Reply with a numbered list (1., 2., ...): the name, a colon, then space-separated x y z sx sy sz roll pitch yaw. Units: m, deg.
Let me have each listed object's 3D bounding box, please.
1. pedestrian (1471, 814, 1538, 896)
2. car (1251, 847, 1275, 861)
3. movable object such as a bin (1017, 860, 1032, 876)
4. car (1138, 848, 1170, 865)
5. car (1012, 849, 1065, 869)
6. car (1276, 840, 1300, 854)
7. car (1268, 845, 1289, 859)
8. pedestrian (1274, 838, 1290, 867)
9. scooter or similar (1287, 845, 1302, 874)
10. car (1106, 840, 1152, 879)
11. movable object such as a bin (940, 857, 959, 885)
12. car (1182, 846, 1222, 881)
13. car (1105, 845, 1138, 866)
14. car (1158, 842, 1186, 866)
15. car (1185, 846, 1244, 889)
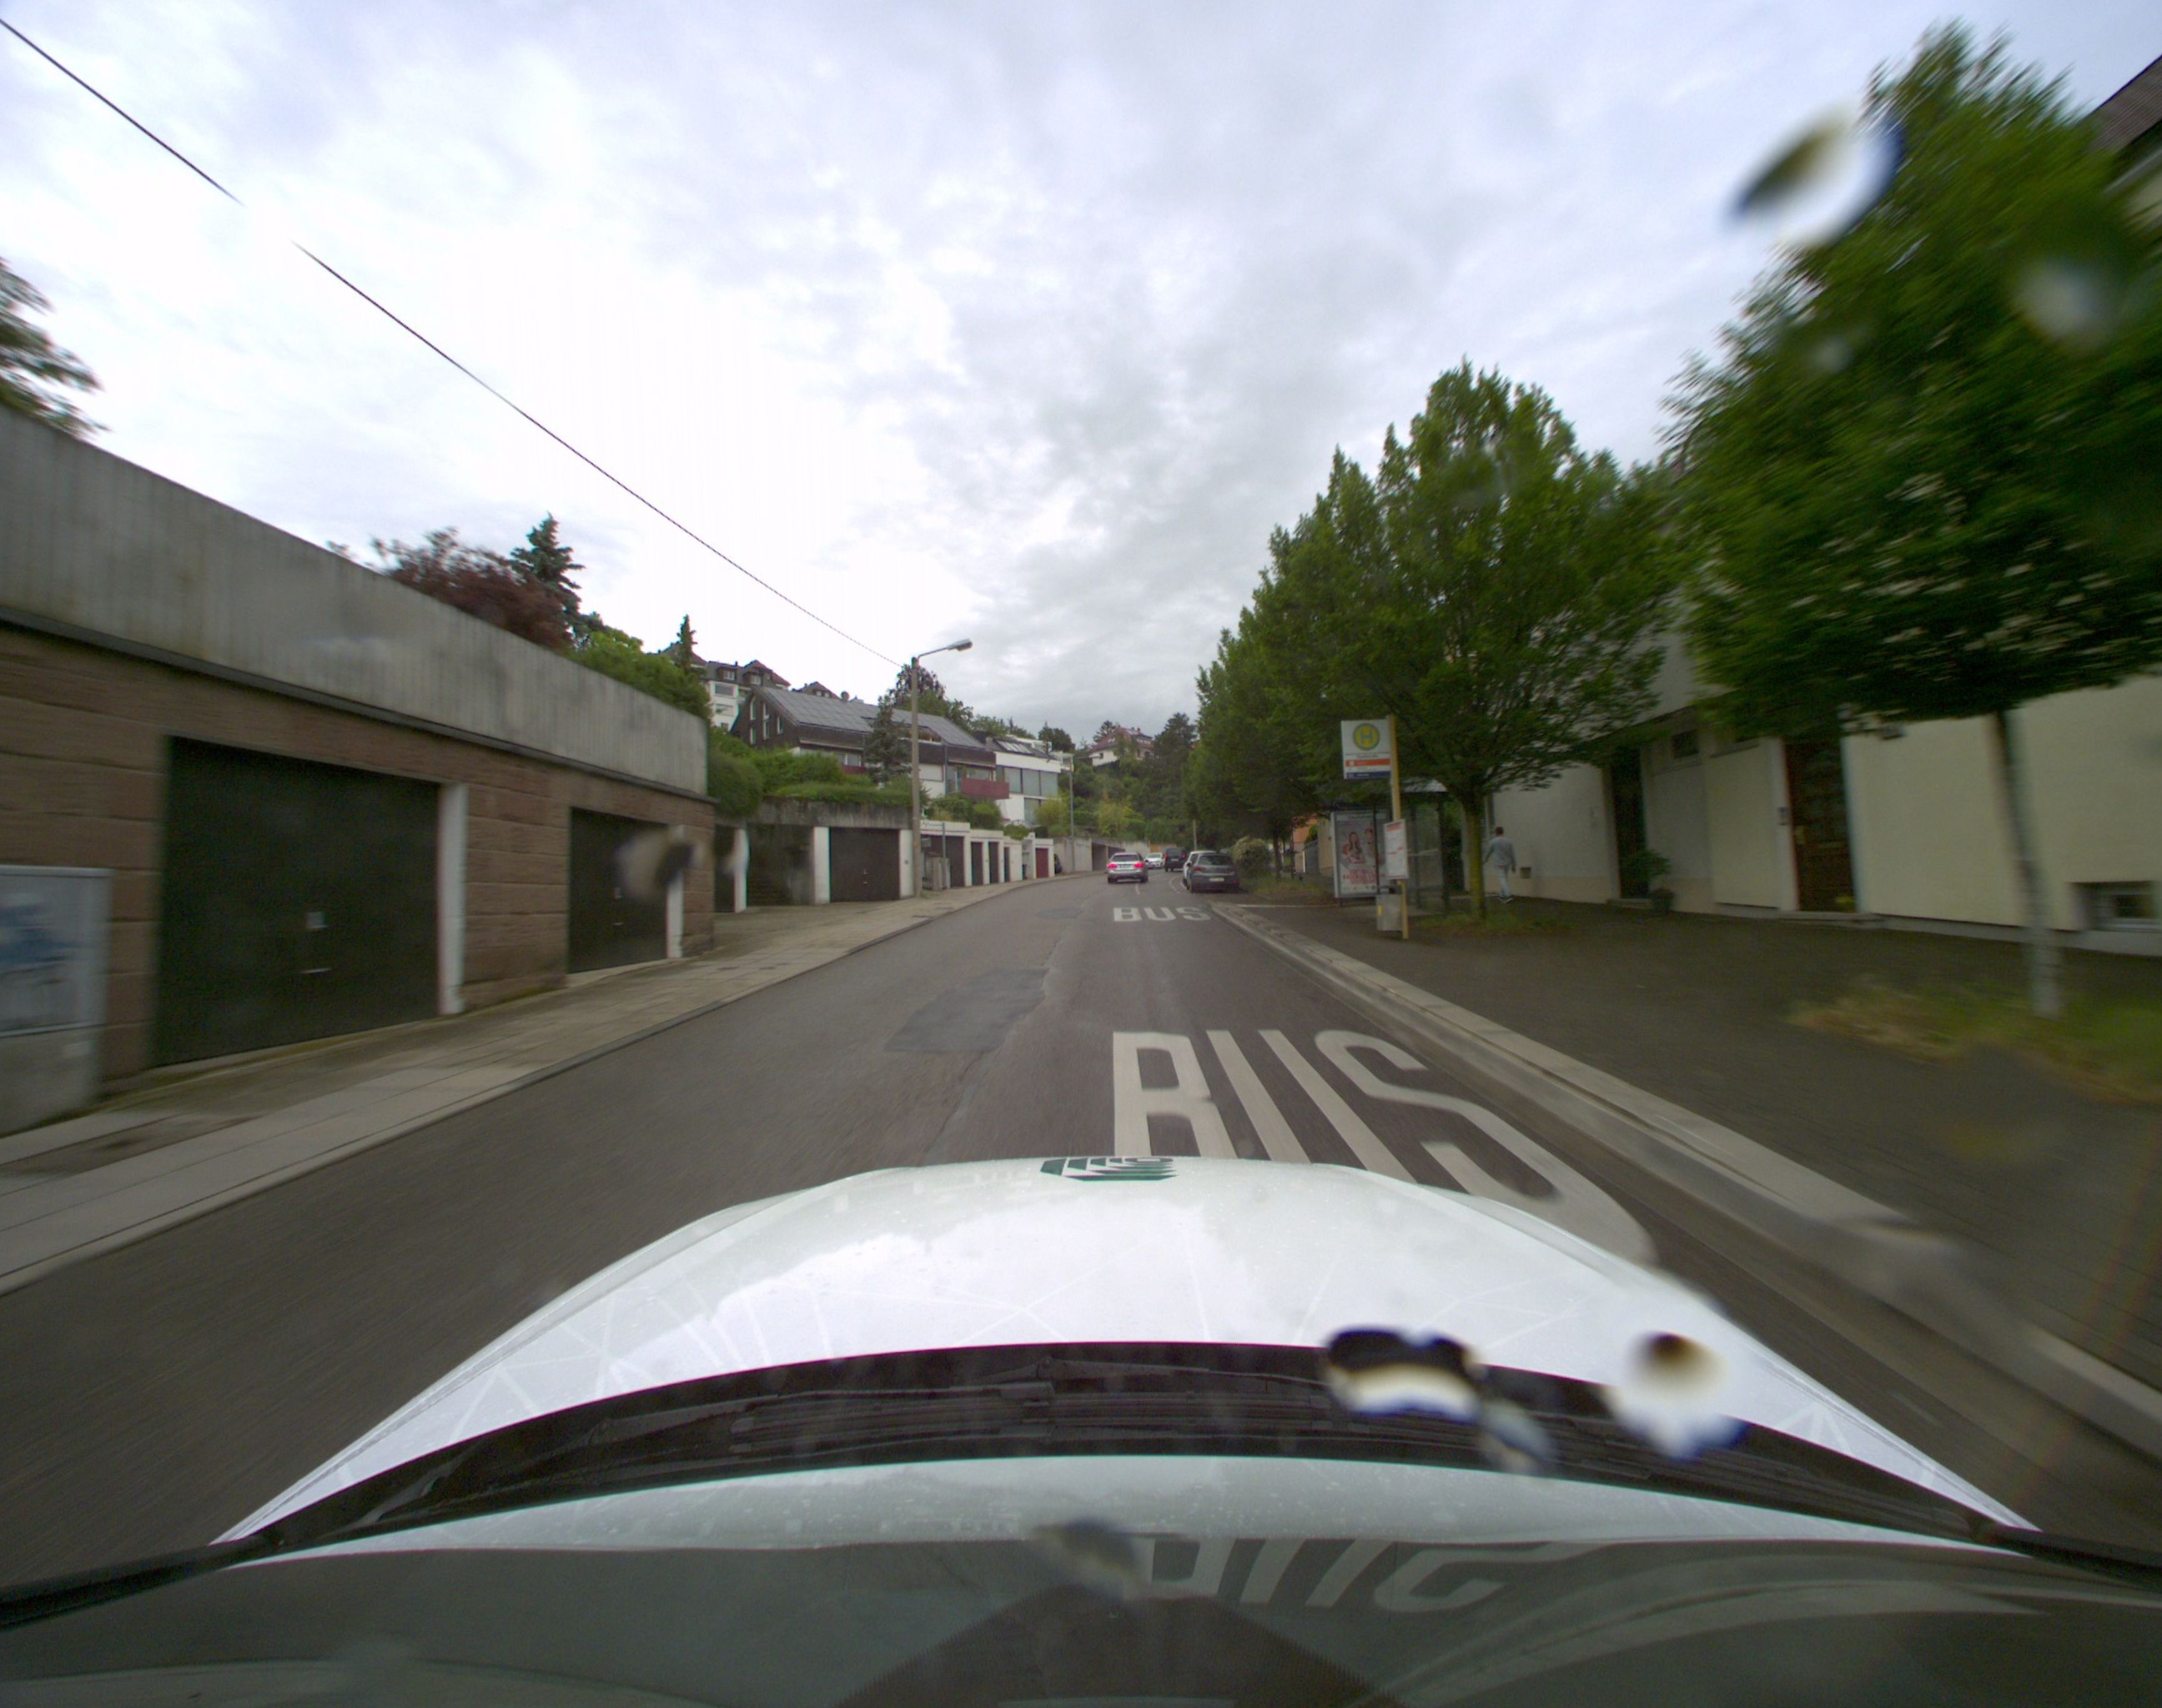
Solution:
1. pedestrian: 9.241 0.021 17.815 0.829 1.686 1.046 -5 0 4
2. car: 18.763 -0.015 83.867 1.653 1.471 3.732 0 1 26
3. movable object such as a bin: -3.418 0.832 49.375 0.537 0.963 0.650 -1 1 42
4. car: 6.649 0.223 73.674 1.817 1.440 4.060 -3 0 20
5. car: -3.191 0.346 61.023 3.882 1.478 1.778 0 1 44
6. car: 23.718 -0.773 93.268 1.638 1.519 4.025 -1 1 29
7. car: 21.843 -0.227 90.024 1.611 1.562 3.041 -1 1 28
8. pedestrian: 12.087 -0.092 49.042 0.755 1.720 0.905 -5 0 11
9. scooter or similar: 9.334 0.243 35.626 0.411 1.245 1.177 -2 0 6
10. car: 2.281 0.239 39.270 2.017 1.708 4.218 -1 0 2
11. movable object such as a bin: -5.470 0.685 33.806 0.604 1.146 0.522 1 -1 -44
12. car: 5.387 0.376 36.627 1.648 1.489 4.008 0 1 6
13. car: 3.126 0.096 62.488 1.614 1.516 3.849 -2 0 16
14. car: 6.981 -0.012 62.017 1.983 1.708 4.008 -1 0 7
15. car: 4.907 0.451 30.451 1.869 1.416 4.474 -1 1 5
